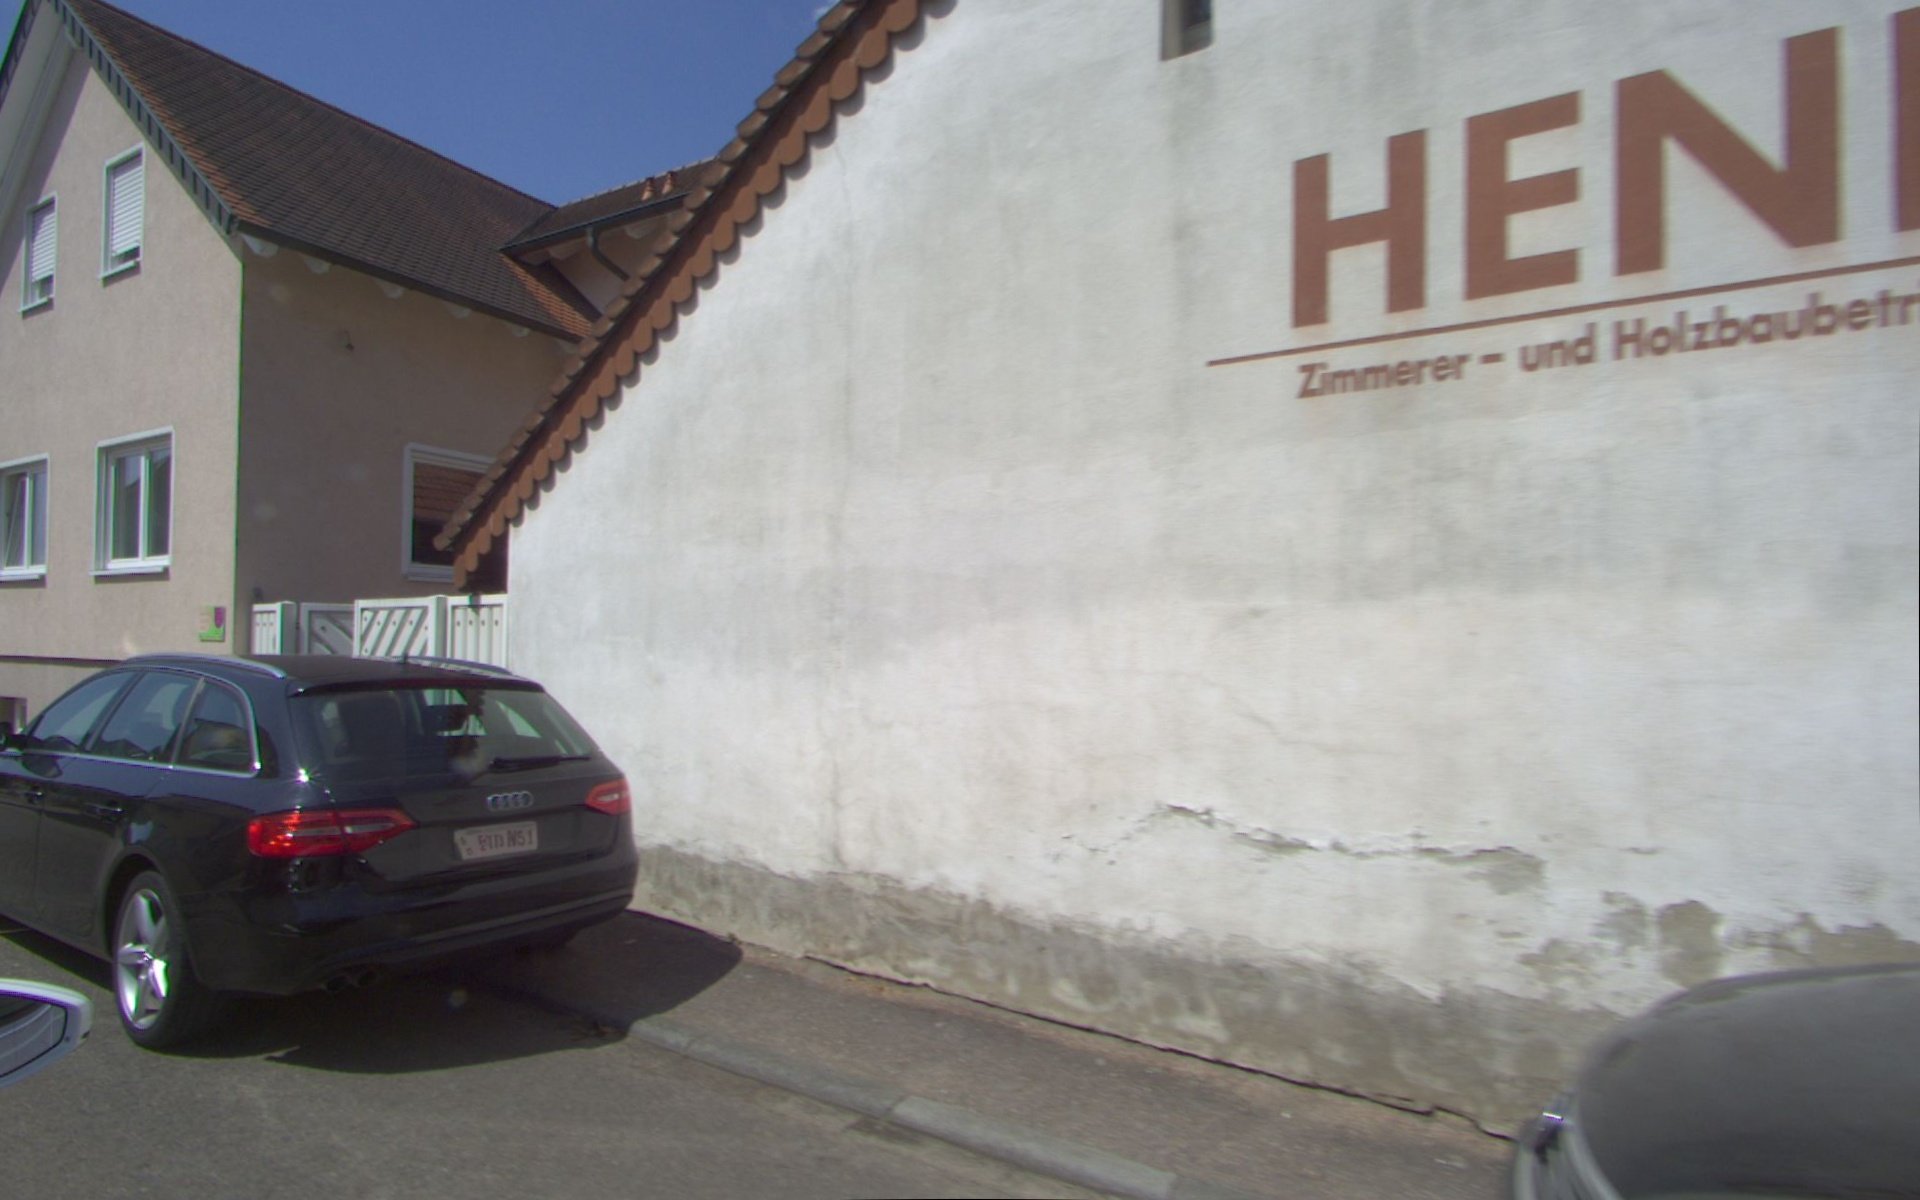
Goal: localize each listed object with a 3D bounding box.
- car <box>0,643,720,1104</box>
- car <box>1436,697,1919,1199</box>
[{"bbox_3d":[-3.601,0.943,5.160,4.670,1.382,1.893,-1,-4,33],"label":"car"},{"bbox_3d":[2.915,0.873,0.809,4.354,1.382,1.892,-1,-4,35],"label":"car"}]
